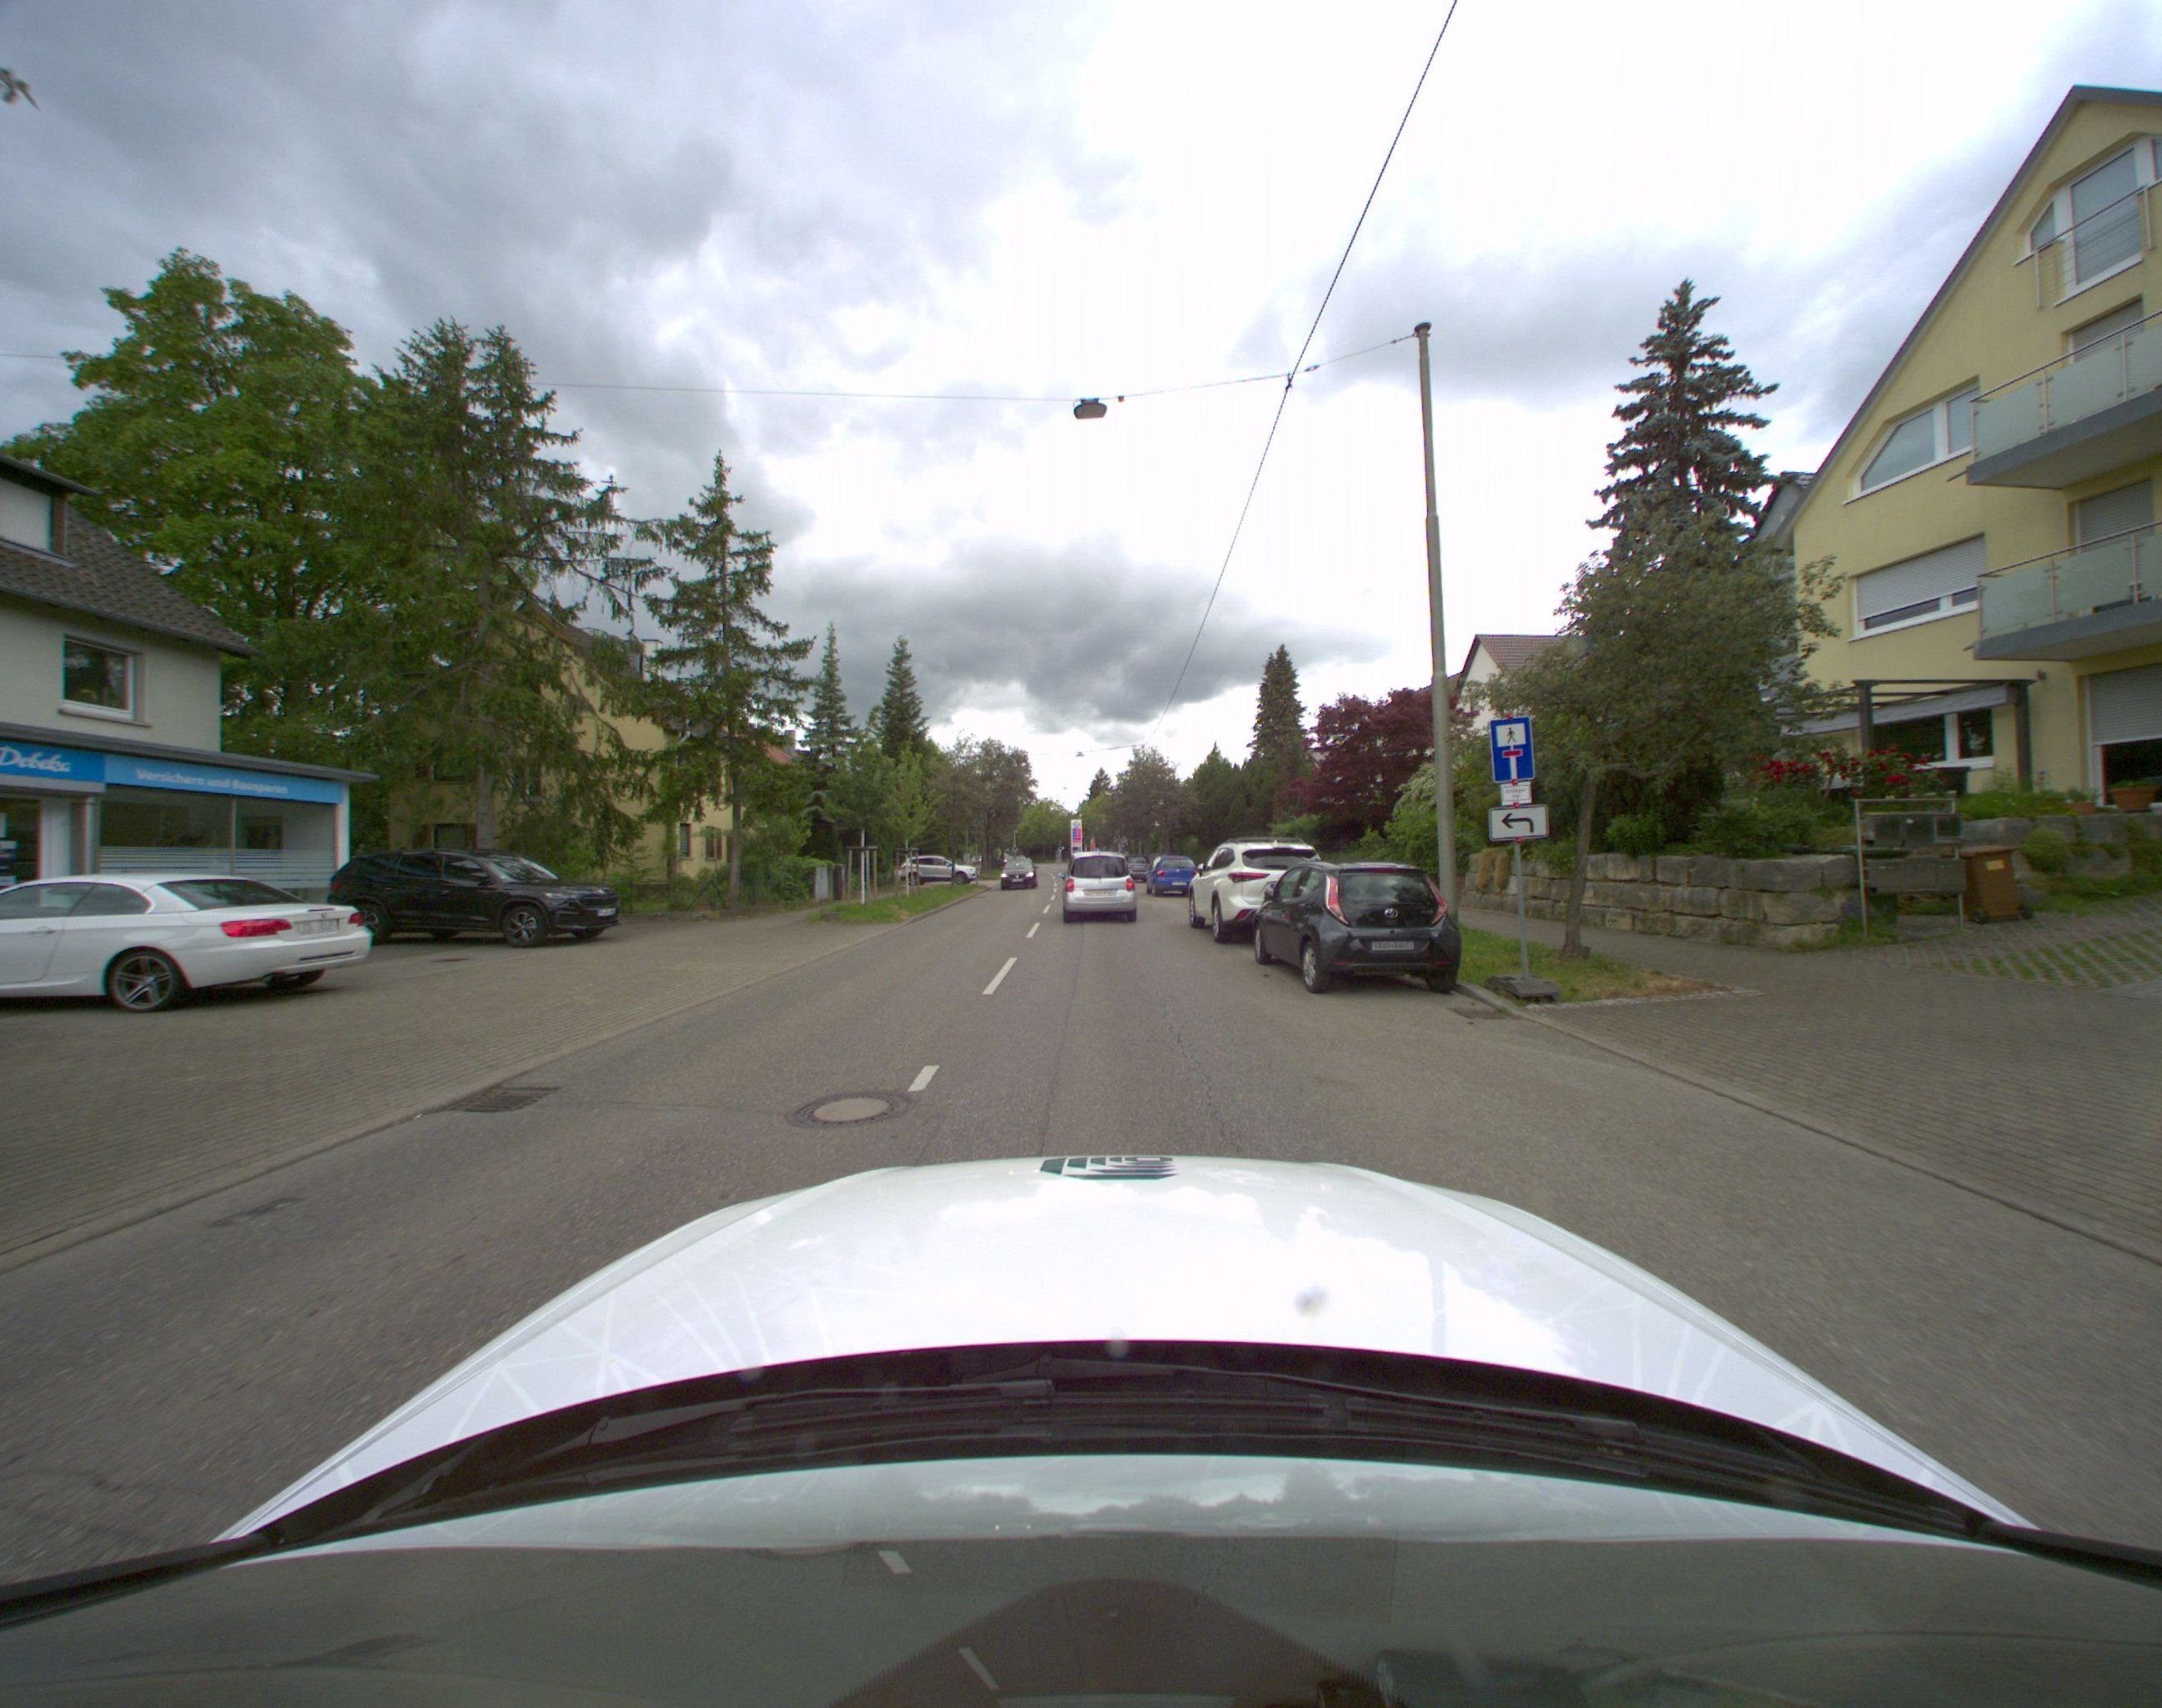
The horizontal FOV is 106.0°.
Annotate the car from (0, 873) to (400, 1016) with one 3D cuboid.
[{"bbox_3d":[-10.566,0.937,9.055,4.270,1.368,1.813,1,-1,-5],"label":"car"}]

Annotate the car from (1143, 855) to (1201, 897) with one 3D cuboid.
[{"bbox_3d":[3.340,0.774,30.453,1.622,1.452,3.873,-1,0,-2],"label":"car"}]

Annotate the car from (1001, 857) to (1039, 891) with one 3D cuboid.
[{"bbox_3d":[-2.886,0.949,39.323,1.570,1.472,3.469,-3,0,-1],"label":"car"}]

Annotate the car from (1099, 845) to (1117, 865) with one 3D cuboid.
[{"bbox_3d":[4.074,0.096,122.527,2.276,2.911,5.273,0,0,-3],"label":"car"}]

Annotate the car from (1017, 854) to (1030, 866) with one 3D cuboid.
[{"bbox_3d":[-7.215,0.776,101.477,1.542,1.470,3.735,0,0,-5],"label":"car"}]

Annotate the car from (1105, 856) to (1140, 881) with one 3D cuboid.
[{"bbox_3d":[2.575,0.878,51.524,1.693,1.433,4.334,-1,0,-3],"label":"car"}]

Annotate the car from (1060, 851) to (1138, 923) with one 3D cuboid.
[{"bbox_3d":[0.415,0.725,19.335,1.673,1.560,3.512,0,0,1],"label":"car"}]

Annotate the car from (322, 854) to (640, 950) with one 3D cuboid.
[{"bbox_3d":[-10.676,0.812,14.733,4.315,1.618,1.975,0,-1,3],"label":"car"}]

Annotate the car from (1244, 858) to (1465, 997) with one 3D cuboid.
[{"bbox_3d":[3.225,0.775,10.312,1.554,1.443,3.504,0,0,-2],"label":"car"}]

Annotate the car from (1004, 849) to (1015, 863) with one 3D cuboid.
[{"bbox_3d":[-12.457,0.389,142.259,1.931,2.408,3.993,-1,0,-5],"label":"car"}]

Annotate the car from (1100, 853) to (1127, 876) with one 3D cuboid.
[{"bbox_3d":[2.241,0.719,57.210,1.690,1.570,3.954,-1,0,-1],"label":"car"}]

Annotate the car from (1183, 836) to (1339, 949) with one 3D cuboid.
[{"bbox_3d":[3.130,0.606,15.183,1.794,1.778,4.702,0,0,-1],"label":"car"}]

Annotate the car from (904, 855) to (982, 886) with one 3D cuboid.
[{"bbox_3d":[-7.853,0.935,46.654,4.071,1.706,1.748,-1,0,1],"label":"car"}]

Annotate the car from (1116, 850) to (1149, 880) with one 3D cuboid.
[{"bbox_3d":[2.850,0.581,45.945,1.689,1.557,3.958,-2,0,2],"label":"car"}]
